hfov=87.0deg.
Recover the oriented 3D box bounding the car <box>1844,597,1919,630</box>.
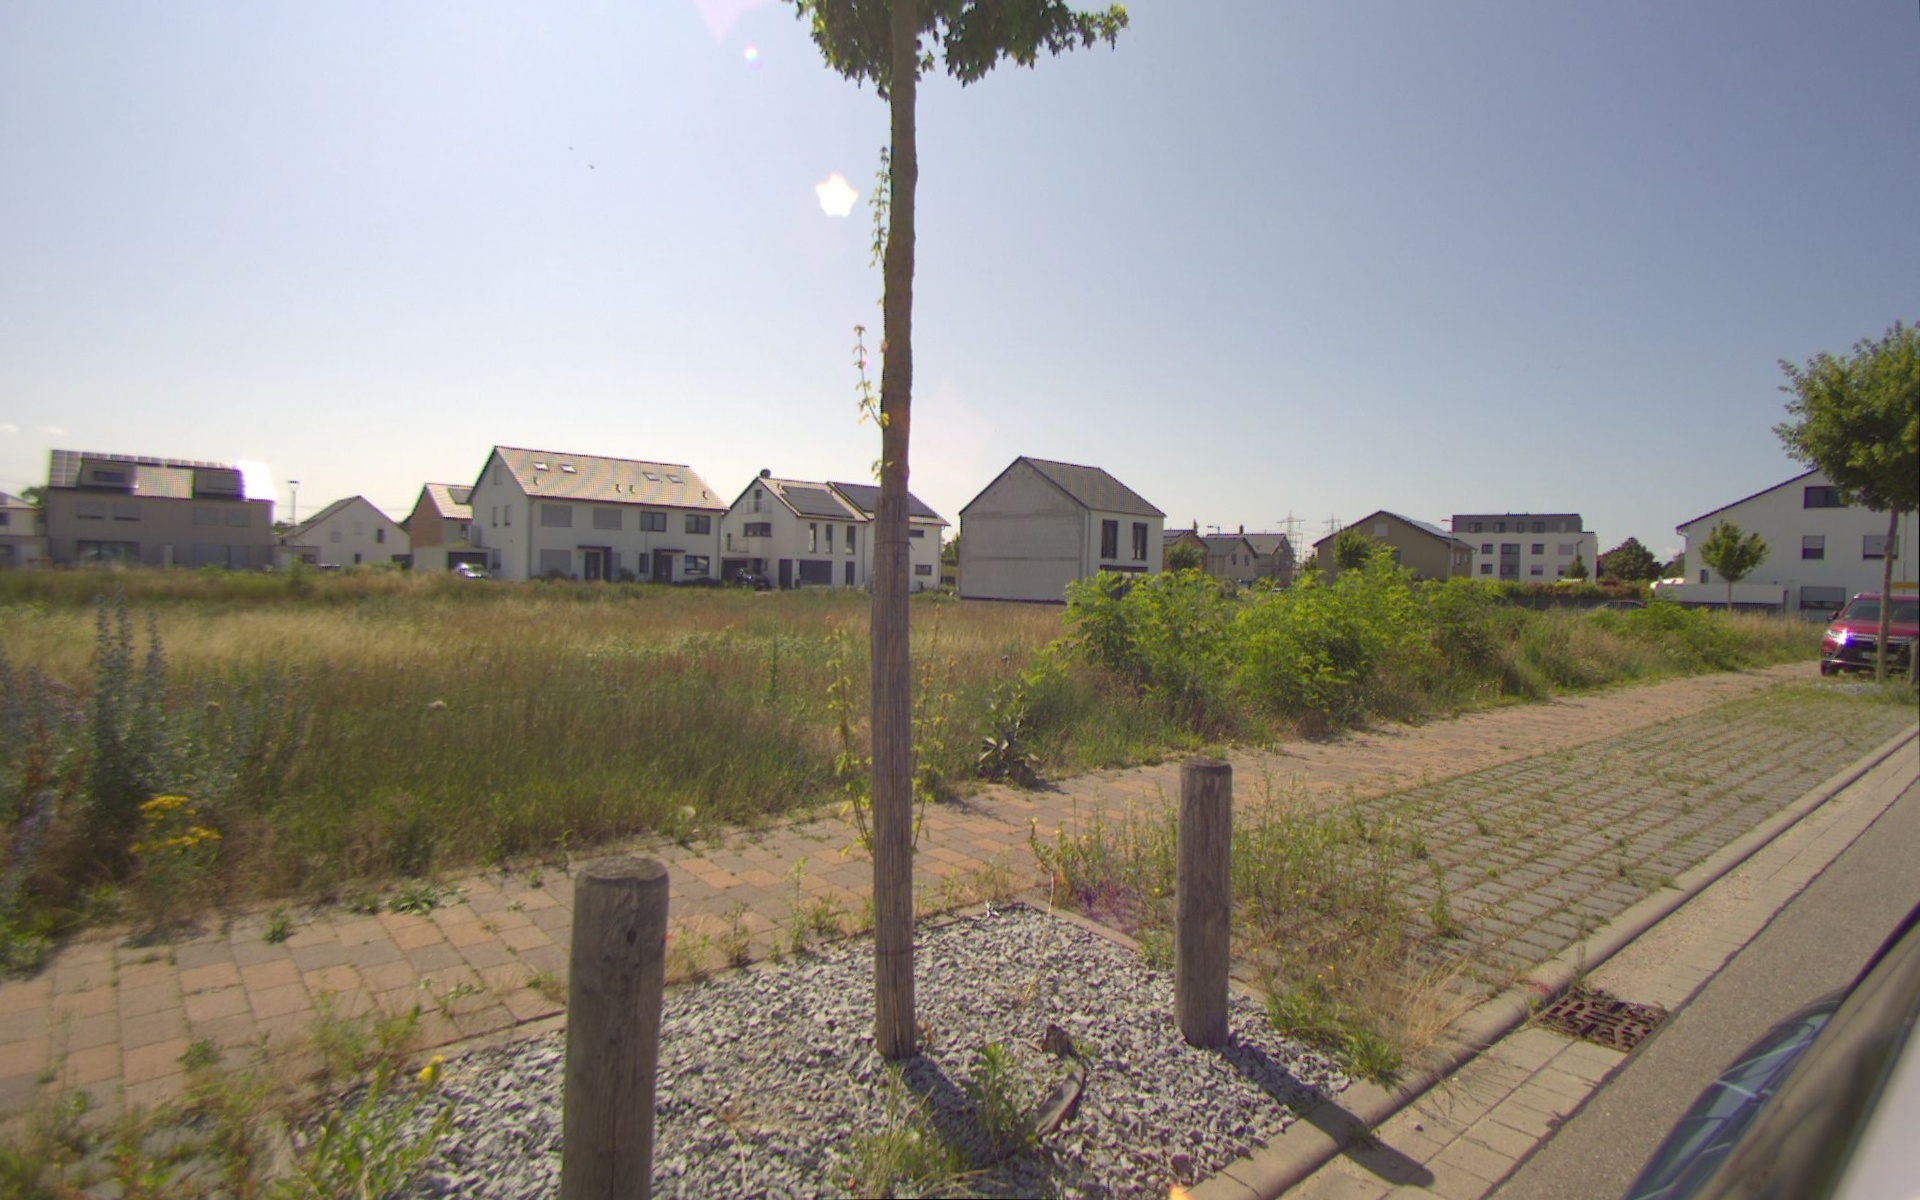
[{"bbox_3d":[48.924,0.710,52.564,1.927,1.577,4.343,1,1,-42],"label":"car"}]

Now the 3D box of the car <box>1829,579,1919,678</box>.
[{"bbox_3d":[18.210,0.539,19.372,4.357,1.683,1.780,1,2,-42],"label":"car"}]

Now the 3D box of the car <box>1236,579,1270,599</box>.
[{"bbox_3d":[30.636,-1.127,105.666,1.991,2.038,3.942,3,2,40],"label":"car"}]

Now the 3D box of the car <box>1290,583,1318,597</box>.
[{"bbox_3d":[39.383,-1.097,115.782,1.742,1.521,3.942,3,2,40],"label":"car"}]

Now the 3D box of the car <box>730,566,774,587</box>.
[{"bbox_3d":[-16.155,-1.854,78.522,1.781,1.531,3.999,1,1,-37],"label":"car"}]

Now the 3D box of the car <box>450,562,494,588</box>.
[{"bbox_3d":[-31.769,-1.660,65.833,1.781,1.593,3.999,1,1,-37],"label":"car"}]
